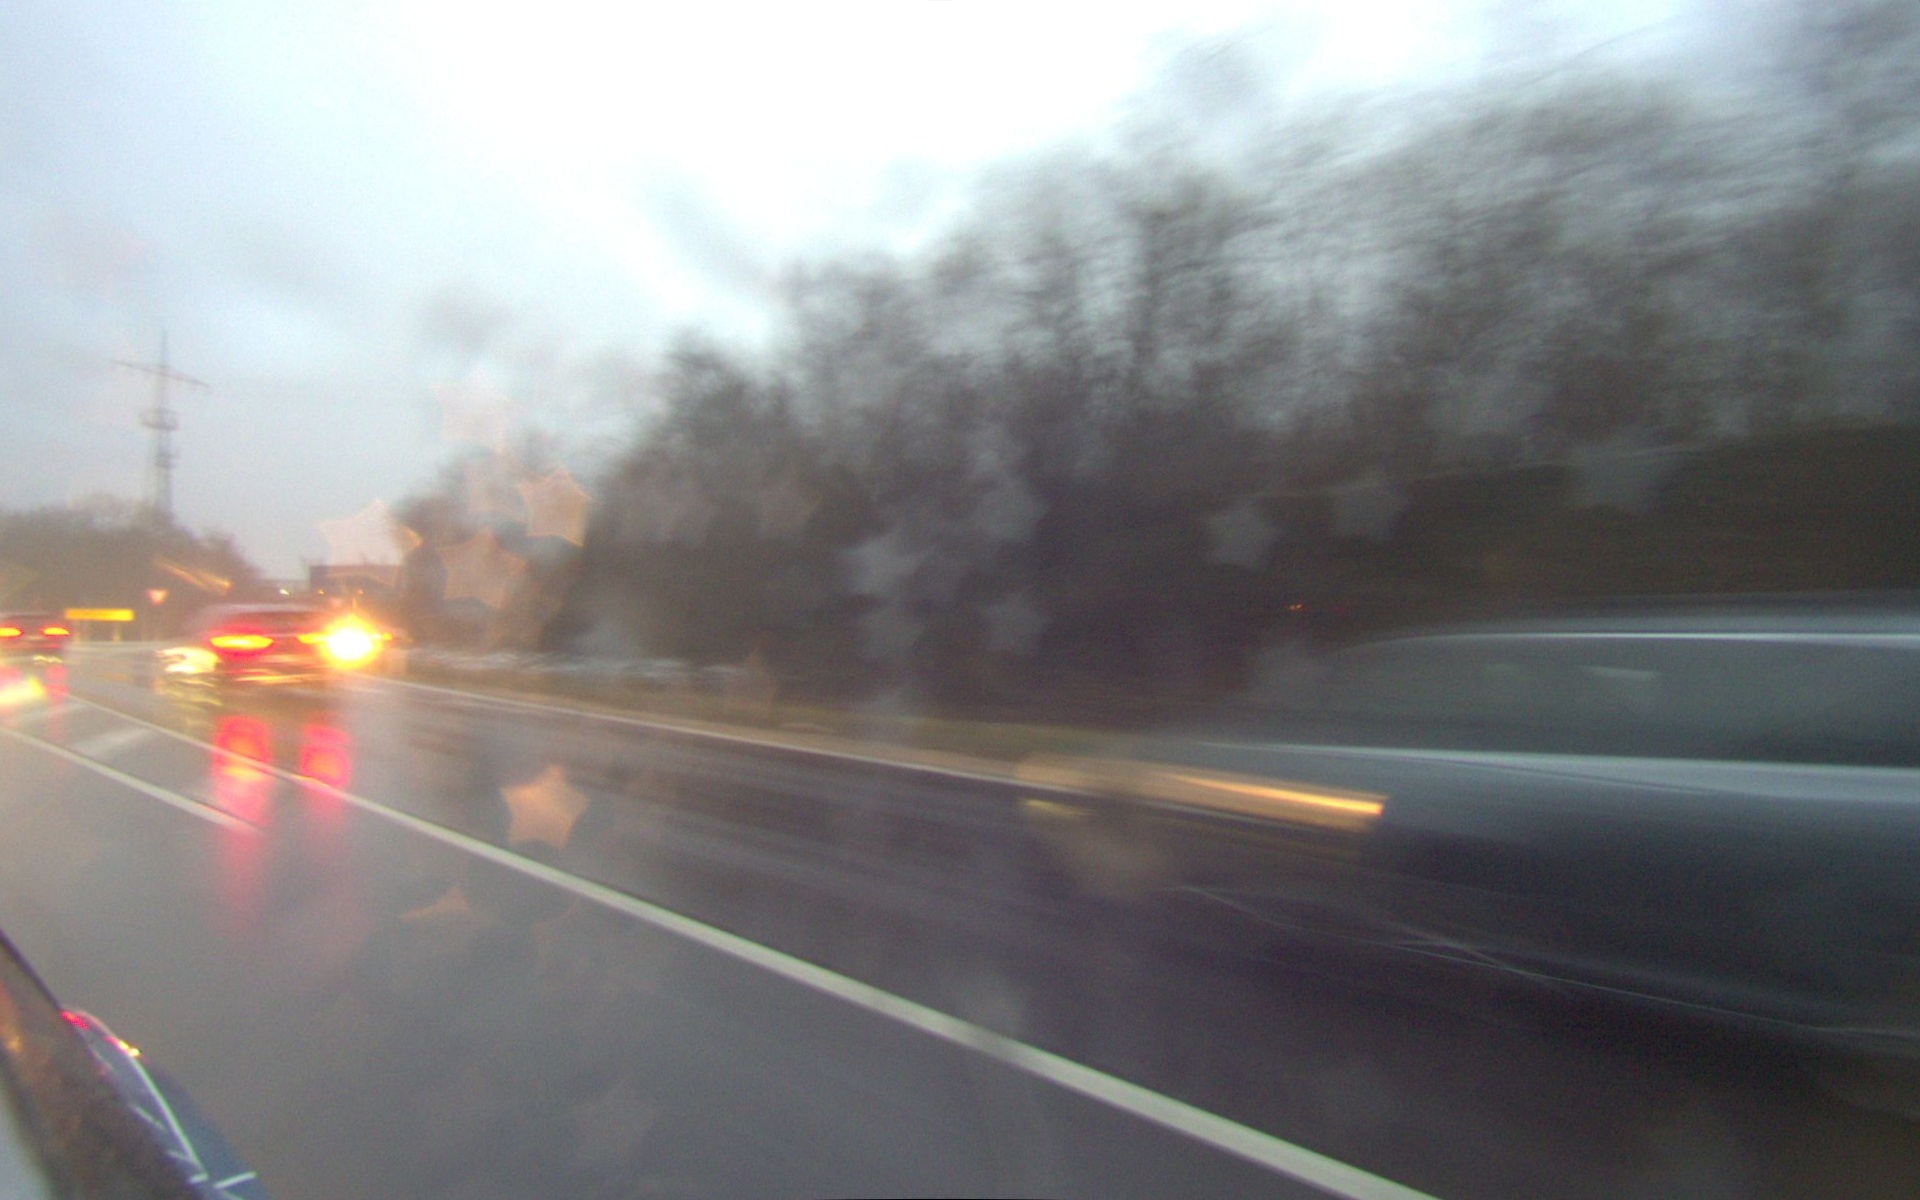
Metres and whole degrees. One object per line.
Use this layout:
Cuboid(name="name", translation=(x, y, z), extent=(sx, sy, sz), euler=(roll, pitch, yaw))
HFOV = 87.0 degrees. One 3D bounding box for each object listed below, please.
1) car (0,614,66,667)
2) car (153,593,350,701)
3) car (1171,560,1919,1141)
Cuboid(name="car", translation=(-31.618, 1.337, 33.930), extent=(4.725, 1.661, 1.882), euler=(-2, -1, 41))
Cuboid(name="car", translation=(-12.423, 0.724, 17.631), extent=(4.466, 1.659, 1.840), euler=(0, 0, 42))
Cuboid(name="car", translation=(3.055, 0.629, 3.185), extent=(4.377, 1.464, 1.785), euler=(-1, -1, 41))
